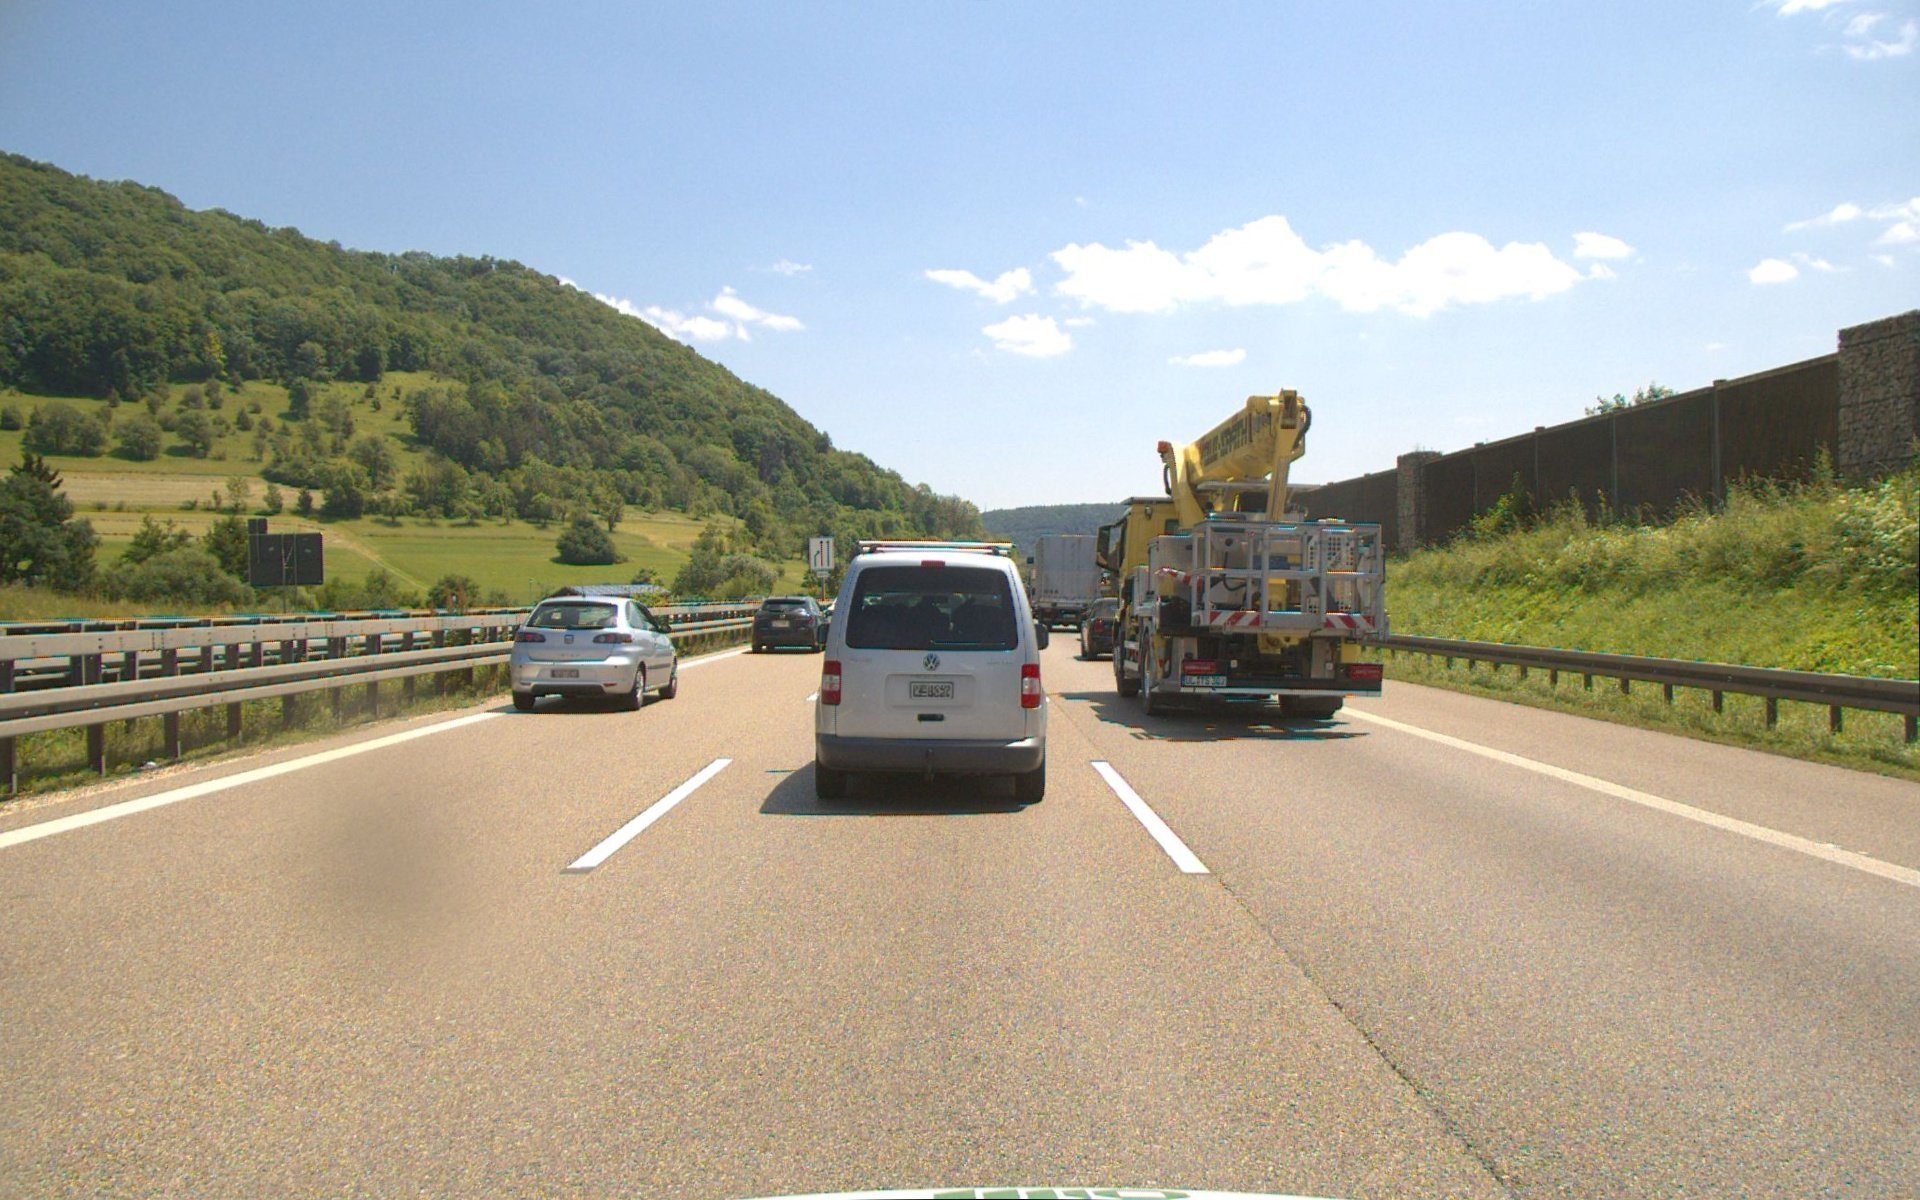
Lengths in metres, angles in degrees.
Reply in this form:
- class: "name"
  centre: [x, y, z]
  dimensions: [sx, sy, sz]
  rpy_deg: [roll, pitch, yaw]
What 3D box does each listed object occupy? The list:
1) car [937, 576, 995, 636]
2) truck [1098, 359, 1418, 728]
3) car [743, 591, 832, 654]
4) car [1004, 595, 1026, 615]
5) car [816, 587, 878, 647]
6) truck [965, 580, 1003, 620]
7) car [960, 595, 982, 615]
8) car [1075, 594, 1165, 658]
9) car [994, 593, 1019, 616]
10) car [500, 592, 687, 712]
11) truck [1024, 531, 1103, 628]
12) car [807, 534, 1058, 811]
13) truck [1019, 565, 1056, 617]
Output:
- class: "car"
  centre: [0.183, 0.189, 57.425]
  dimensions: [1.953, 2.010, 3.999]
  rpy_deg: [0, 0, -1]
- class: "truck"
  centre: [3.604, -0.629, 22.352]
  dimensions: [2.649, 4.011, 8.720]
  rpy_deg: [0, 0, -1]
- class: "car"
  centre: [-4.393, 0.552, 42.622]
  dimensions: [1.886, 1.525, 3.999]
  rpy_deg: [1, 0, -1]
- class: "car"
  centre: [5.270, 0.493, 157.896]
  dimensions: [1.952, 1.837, 4.000]
  rpy_deg: [1, 0, 0]
- class: "car"
  centre: [-4.014, 0.567, 59.232]
  dimensions: [1.953, 2.049, 3.999]
  rpy_deg: [-1, 0, -1]
- class: "truck"
  centre: [1.543, -0.002, 108.213]
  dimensions: [2.341, 2.585, 5.938]
  rpy_deg: [0, 0, -1]
- class: "car"
  centre: [1.029, 0.451, 156.097]
  dimensions: [1.952, 1.837, 4.000]
  rpy_deg: [1, 0, 0]
- class: "car"
  centre: [3.813, 0.594, 39.944]
  dimensions: [1.750, 1.484, 3.770]
  rpy_deg: [0, 0, -1]
- class: "car"
  centre: [3.847, 0.361, 136.939]
  dimensions: [1.952, 1.837, 4.000]
  rpy_deg: [1, 0, 0]
- class: "car"
  centre: [-4.789, 0.627, 22.102]
  dimensions: [1.661, 1.470, 3.861]
  rpy_deg: [0, 0, 0]
- class: "truck"
  centre: [4.360, -0.809, 71.042]
  dimensions: [2.880, 3.890, 8.236]
  rpy_deg: [1, 0, 0]
- class: "car"
  centre: [-0.214, 0.489, 13.384]
  dimensions: [1.720, 1.900, 3.999]
  rpy_deg: [0, 0, -1]
- class: "truck"
  centre: [5.085, -0.559, 109.538]
  dimensions: [1.953, 3.308, 6.798]
  rpy_deg: [1, 0, -1]
